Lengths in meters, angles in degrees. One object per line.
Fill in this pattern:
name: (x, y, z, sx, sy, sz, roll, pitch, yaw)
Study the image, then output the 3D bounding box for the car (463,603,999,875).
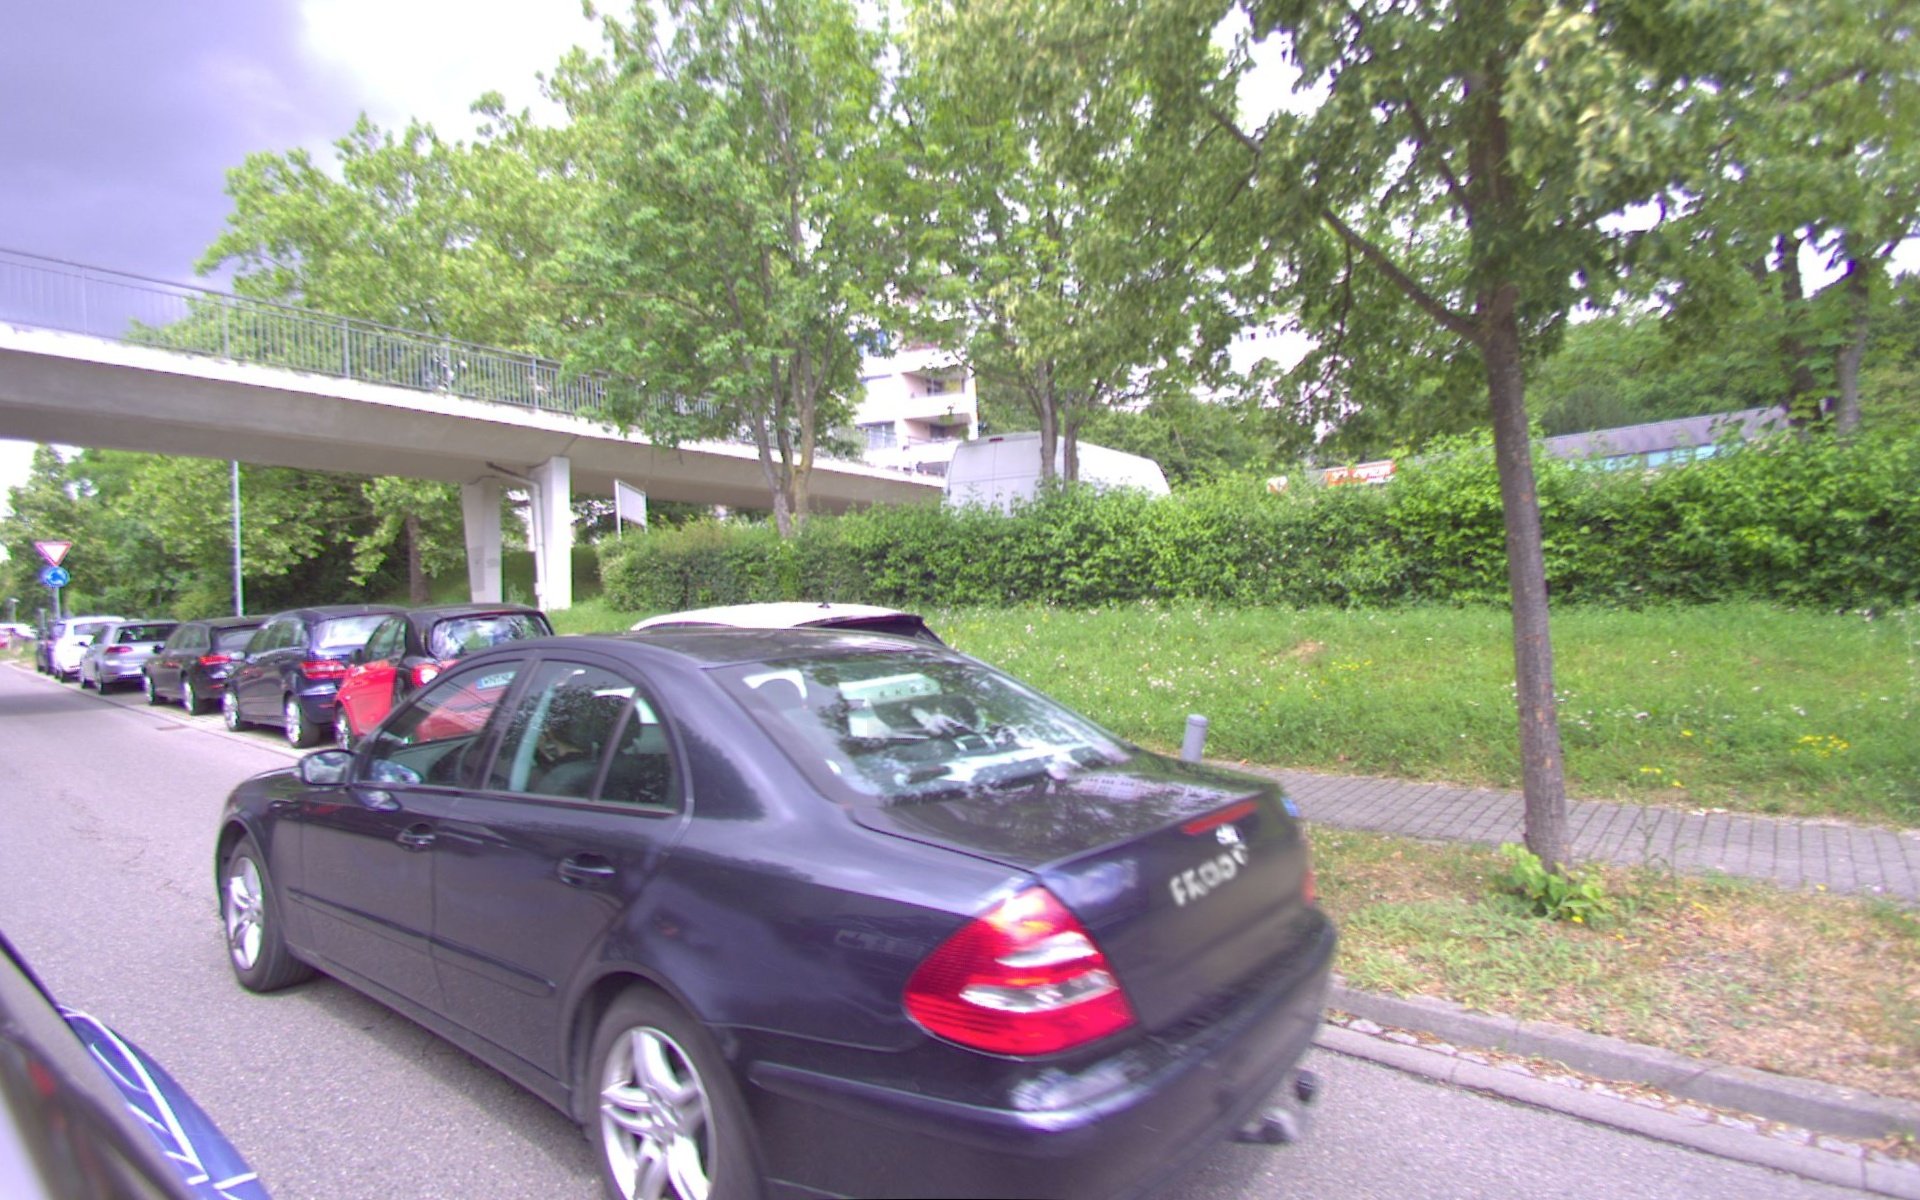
car: (-1.842, 0.761, 7.332, 4.047, 1.415, 1.789, -1, -1, 42)

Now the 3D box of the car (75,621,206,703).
car: (-17.600, 1.245, 21.668, 1.787, 1.466, 3.864, -5, 2, -44)

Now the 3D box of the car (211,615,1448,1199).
car: (-0.895, 0.806, 3.506, 4.363, 1.430, 1.734, -2, -2, 39)

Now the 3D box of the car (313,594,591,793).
car: (-5.136, 0.814, 10.141, 2.685, 1.596, 1.577, -1, 3, 43)

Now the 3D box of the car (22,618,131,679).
car: (-24.947, 1.321, 28.537, 3.719, 1.582, 1.790, -1, -1, 40)

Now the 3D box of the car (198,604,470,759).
car: (-8.103, 0.933, 12.967, 3.983, 1.596, 1.790, -2, 1, 41)

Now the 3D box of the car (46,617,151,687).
car: (-21.679, 1.245, 25.430, 1.787, 1.582, 3.725, 0, -1, -44)

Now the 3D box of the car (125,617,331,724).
car: (-12.404, 1.089, 17.036, 4.483, 1.491, 1.790, -1, 1, 41)
